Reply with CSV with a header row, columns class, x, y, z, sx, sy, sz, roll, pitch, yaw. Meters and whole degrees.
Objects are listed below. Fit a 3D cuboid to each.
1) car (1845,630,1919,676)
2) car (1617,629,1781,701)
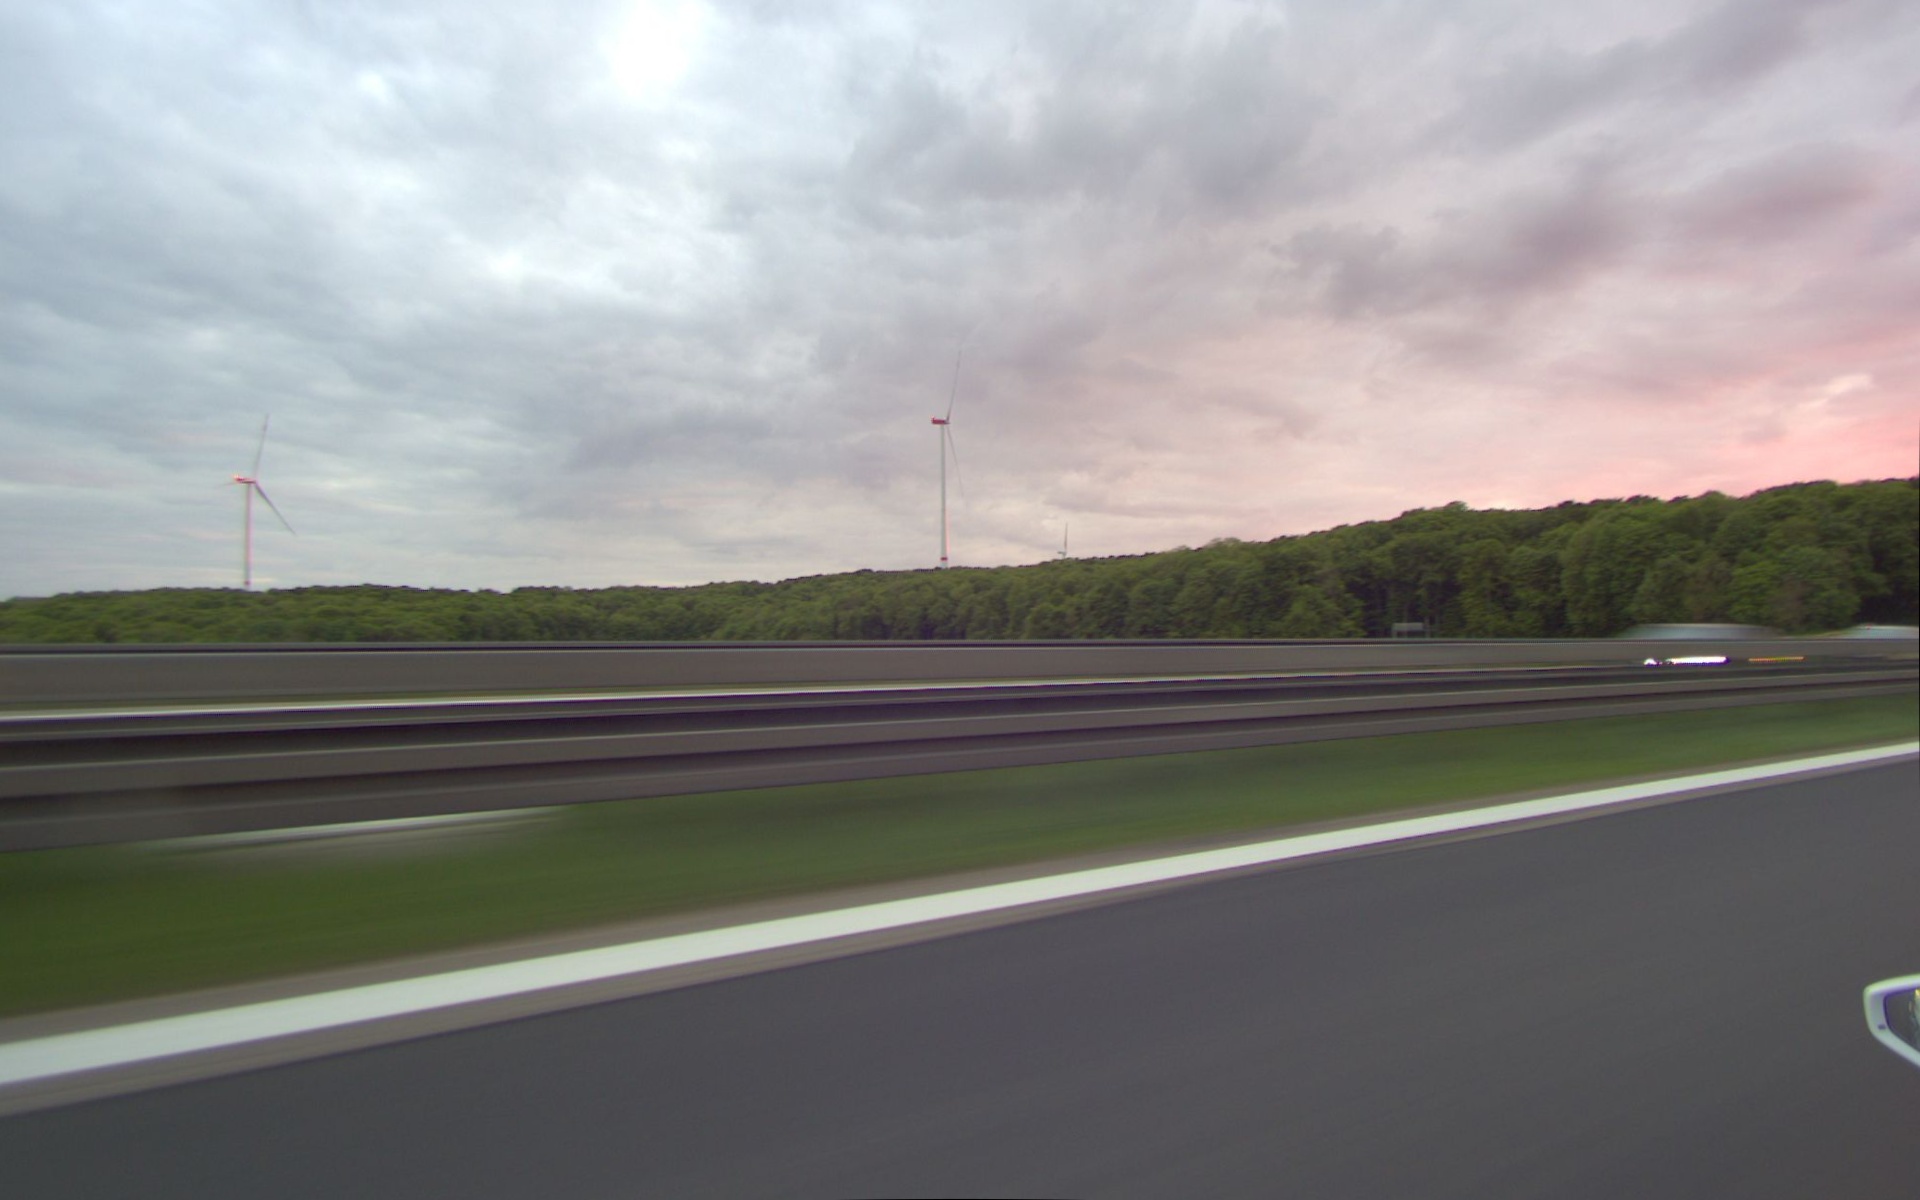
class,x,y,z,sx,sy,sz,roll,pitch,yaw
car,32.200,1.777,34.359,3.951,1.437,1.646,1,0,-29
car,16.748,1.409,22.730,3.954,1.503,1.601,1,-2,-31
